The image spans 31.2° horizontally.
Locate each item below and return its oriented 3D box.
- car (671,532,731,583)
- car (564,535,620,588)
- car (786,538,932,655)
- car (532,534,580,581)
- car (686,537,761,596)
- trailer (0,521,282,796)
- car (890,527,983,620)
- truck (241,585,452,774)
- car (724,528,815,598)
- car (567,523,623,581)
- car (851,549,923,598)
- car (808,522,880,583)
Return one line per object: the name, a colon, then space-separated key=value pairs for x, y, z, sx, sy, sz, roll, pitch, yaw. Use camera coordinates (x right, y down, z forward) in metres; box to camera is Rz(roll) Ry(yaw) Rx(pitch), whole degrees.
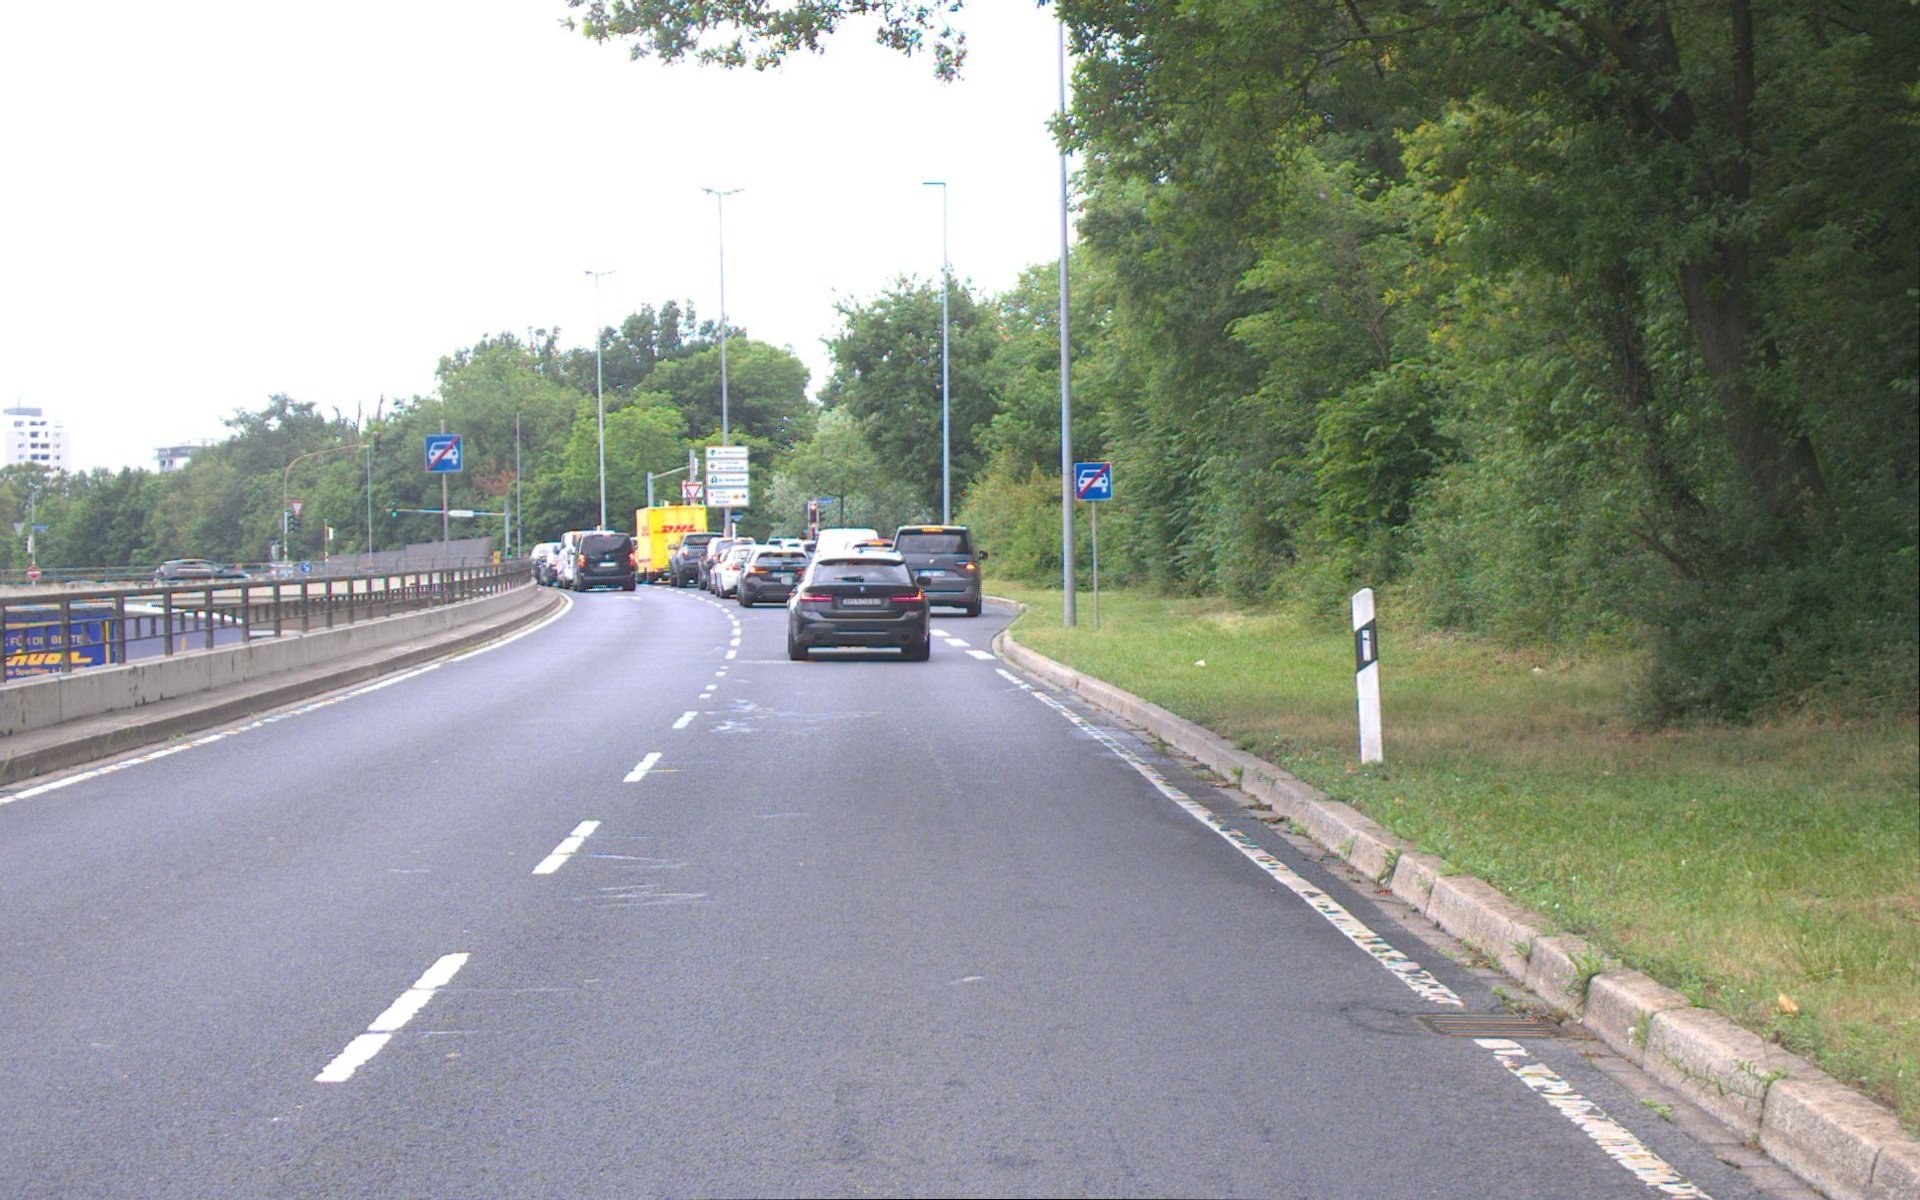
car: x=-8.911 y=-1.462 z=118.076 sx=1.884 sy=1.694 sz=4.431 roll=0 pitch=0 yaw=-7
car: x=-12.121 y=-1.271 z=113.082 sx=1.623 sy=1.696 sz=4.297 roll=0 pitch=0 yaw=-8
car: x=-1.381 y=-0.082 z=45.501 sx=1.748 sy=1.421 sz=4.462 roll=-1 pitch=2 yaw=-4
car: x=-15.147 y=-1.584 z=128.818 sx=1.623 sy=1.696 sz=4.297 roll=0 pitch=0 yaw=-8
car: x=-6.623 y=-0.937 z=95.925 sx=1.884 sy=1.587 sz=4.431 roll=0 pitch=0 yaw=-7
trailer: x=-14.279 y=0.838 z=58.650 sx=2.851 sy=4.023 sz=16.007 roll=-1 pitch=0 yaw=-2
car: x=-0.511 y=-0.556 z=72.547 sx=1.899 sy=1.878 sz=4.415 roll=1 pitch=0 yaw=-1
truck: x=-14.492 y=1.700 z=82.552 sx=2.850 sy=4.023 sz=15.579 roll=-1 pitch=0 yaw=-2
car: x=-4.557 y=-0.868 z=81.651 sx=1.884 sy=1.587 sz=4.431 roll=0 pitch=0 yaw=-7
car: x=-12.873 y=-1.663 z=121.035 sx=1.884 sy=1.981 sz=4.431 roll=0 pitch=0 yaw=-7
car: x=-2.130 y=-0.768 z=98.827 sx=1.884 sy=1.351 sz=4.001 roll=0 pitch=0 yaw=-4
car: x=-3.645 y=-1.480 z=107.741 sx=1.884 sy=1.873 sz=4.431 roll=0 pitch=0 yaw=-7
